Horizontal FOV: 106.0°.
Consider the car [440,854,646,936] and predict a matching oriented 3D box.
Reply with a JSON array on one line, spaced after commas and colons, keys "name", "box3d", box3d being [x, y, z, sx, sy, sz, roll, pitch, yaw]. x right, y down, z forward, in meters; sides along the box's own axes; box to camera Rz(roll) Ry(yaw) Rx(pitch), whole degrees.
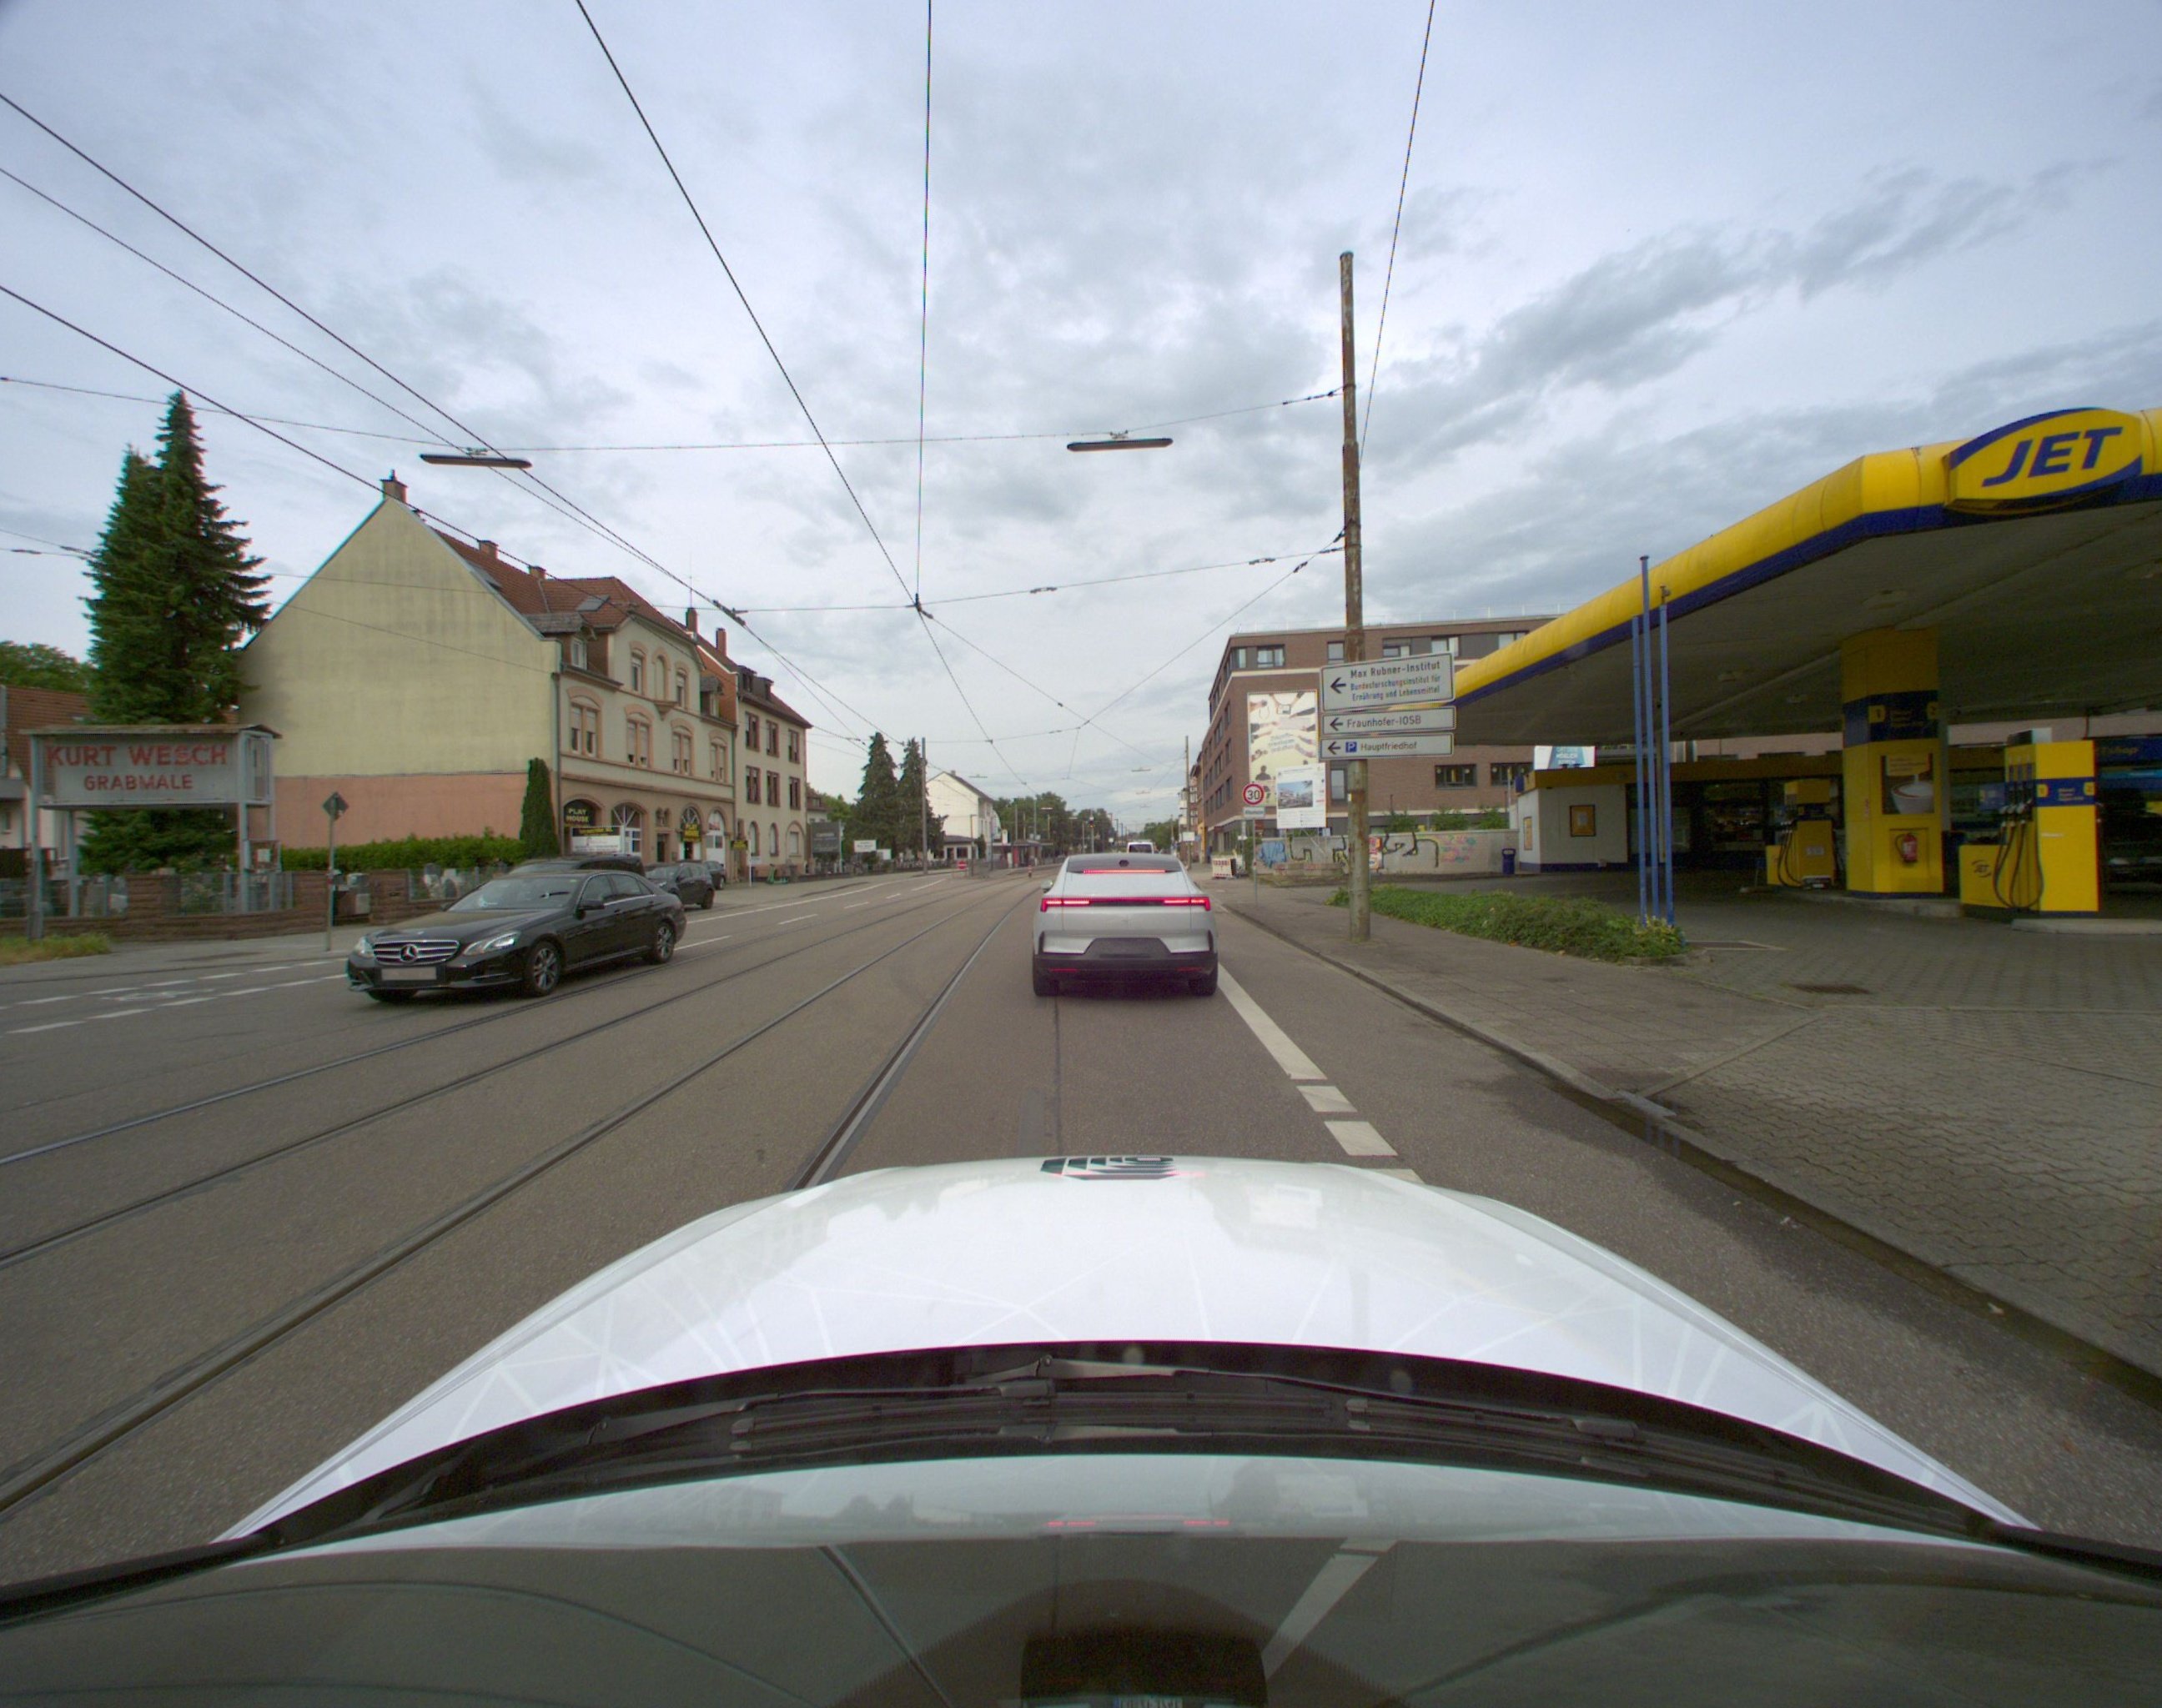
[{"name": "car", "box3d": [-13.712, 0.974, 21.238, 1.985, 1.887, 4.998, 0, -1, 0]}]

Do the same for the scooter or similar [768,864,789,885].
[{"name": "scooter or similar", "box3d": [-17.646, 1.182, 47.496, 1.056, 1.188, 0.315, 1, -1, -35]}]

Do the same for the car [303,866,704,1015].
[{"name": "car", "box3d": [-7.159, 0.937, 10.958, 1.941, 1.427, 4.884, -2, 0, -1]}]

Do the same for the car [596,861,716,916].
[{"name": "car", "box3d": [-14.066, 1.084, 27.266, 1.839, 1.718, 4.191, 0, -1, -1]}]

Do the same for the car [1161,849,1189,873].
[{"name": "car", "box3d": [7.504, 0.556, 65.273, 1.868, 1.823, 4.096, 0, -1, 1]}]

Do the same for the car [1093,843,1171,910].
[{"name": "car", "box3d": [1.368, 0.613, 23.401, 1.963, 1.756, 3.836, 0, -1, -1]}]

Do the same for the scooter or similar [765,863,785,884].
[{"name": "scooter or similar", "box3d": [-18.048, 1.145, 47.973, 1.056, 1.188, 0.315, 1, -1, -35]}]

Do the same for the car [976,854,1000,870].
[{"name": "car", "box3d": [-9.804, 0.848, 86.336, 1.735, 1.741, 4.006, 0, -1, 5]}]

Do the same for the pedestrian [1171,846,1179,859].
[{"name": "pedestrian", "box3d": [14.623, -0.184, 126.721, 1.215, 2.013, 0.934, -2, 0, 1]}]

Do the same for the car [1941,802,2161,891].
[{"name": "car", "box3d": [19.505, -0.135, 15.923, 1.973, 1.497, 4.348, -3, -1, 21]}]

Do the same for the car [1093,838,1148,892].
[{"name": "car", "box3d": [1.506, 0.431, 32.479, 1.987, 2.014, 3.999, 0, -1, 0]}]

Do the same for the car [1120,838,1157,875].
[{"name": "car", "box3d": [3.957, 0.193, 56.460, 2.209, 2.423, 4.950, 0, -1, 0]}]

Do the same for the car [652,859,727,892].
[{"name": "car", "box3d": [-18.482, 1.002, 38.666, 1.748, 1.500, 3.745, 0, -1, -1]}]

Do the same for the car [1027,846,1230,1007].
[{"name": "car", "box3d": [0.390, 0.700, 9.992, 1.977, 1.550, 4.179, 0, 0, -2]}]

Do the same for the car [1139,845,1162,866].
[{"name": "car", "box3d": [7.350, 0.144, 86.244, 2.132, 2.146, 4.744, 0, -1, 1]}]
